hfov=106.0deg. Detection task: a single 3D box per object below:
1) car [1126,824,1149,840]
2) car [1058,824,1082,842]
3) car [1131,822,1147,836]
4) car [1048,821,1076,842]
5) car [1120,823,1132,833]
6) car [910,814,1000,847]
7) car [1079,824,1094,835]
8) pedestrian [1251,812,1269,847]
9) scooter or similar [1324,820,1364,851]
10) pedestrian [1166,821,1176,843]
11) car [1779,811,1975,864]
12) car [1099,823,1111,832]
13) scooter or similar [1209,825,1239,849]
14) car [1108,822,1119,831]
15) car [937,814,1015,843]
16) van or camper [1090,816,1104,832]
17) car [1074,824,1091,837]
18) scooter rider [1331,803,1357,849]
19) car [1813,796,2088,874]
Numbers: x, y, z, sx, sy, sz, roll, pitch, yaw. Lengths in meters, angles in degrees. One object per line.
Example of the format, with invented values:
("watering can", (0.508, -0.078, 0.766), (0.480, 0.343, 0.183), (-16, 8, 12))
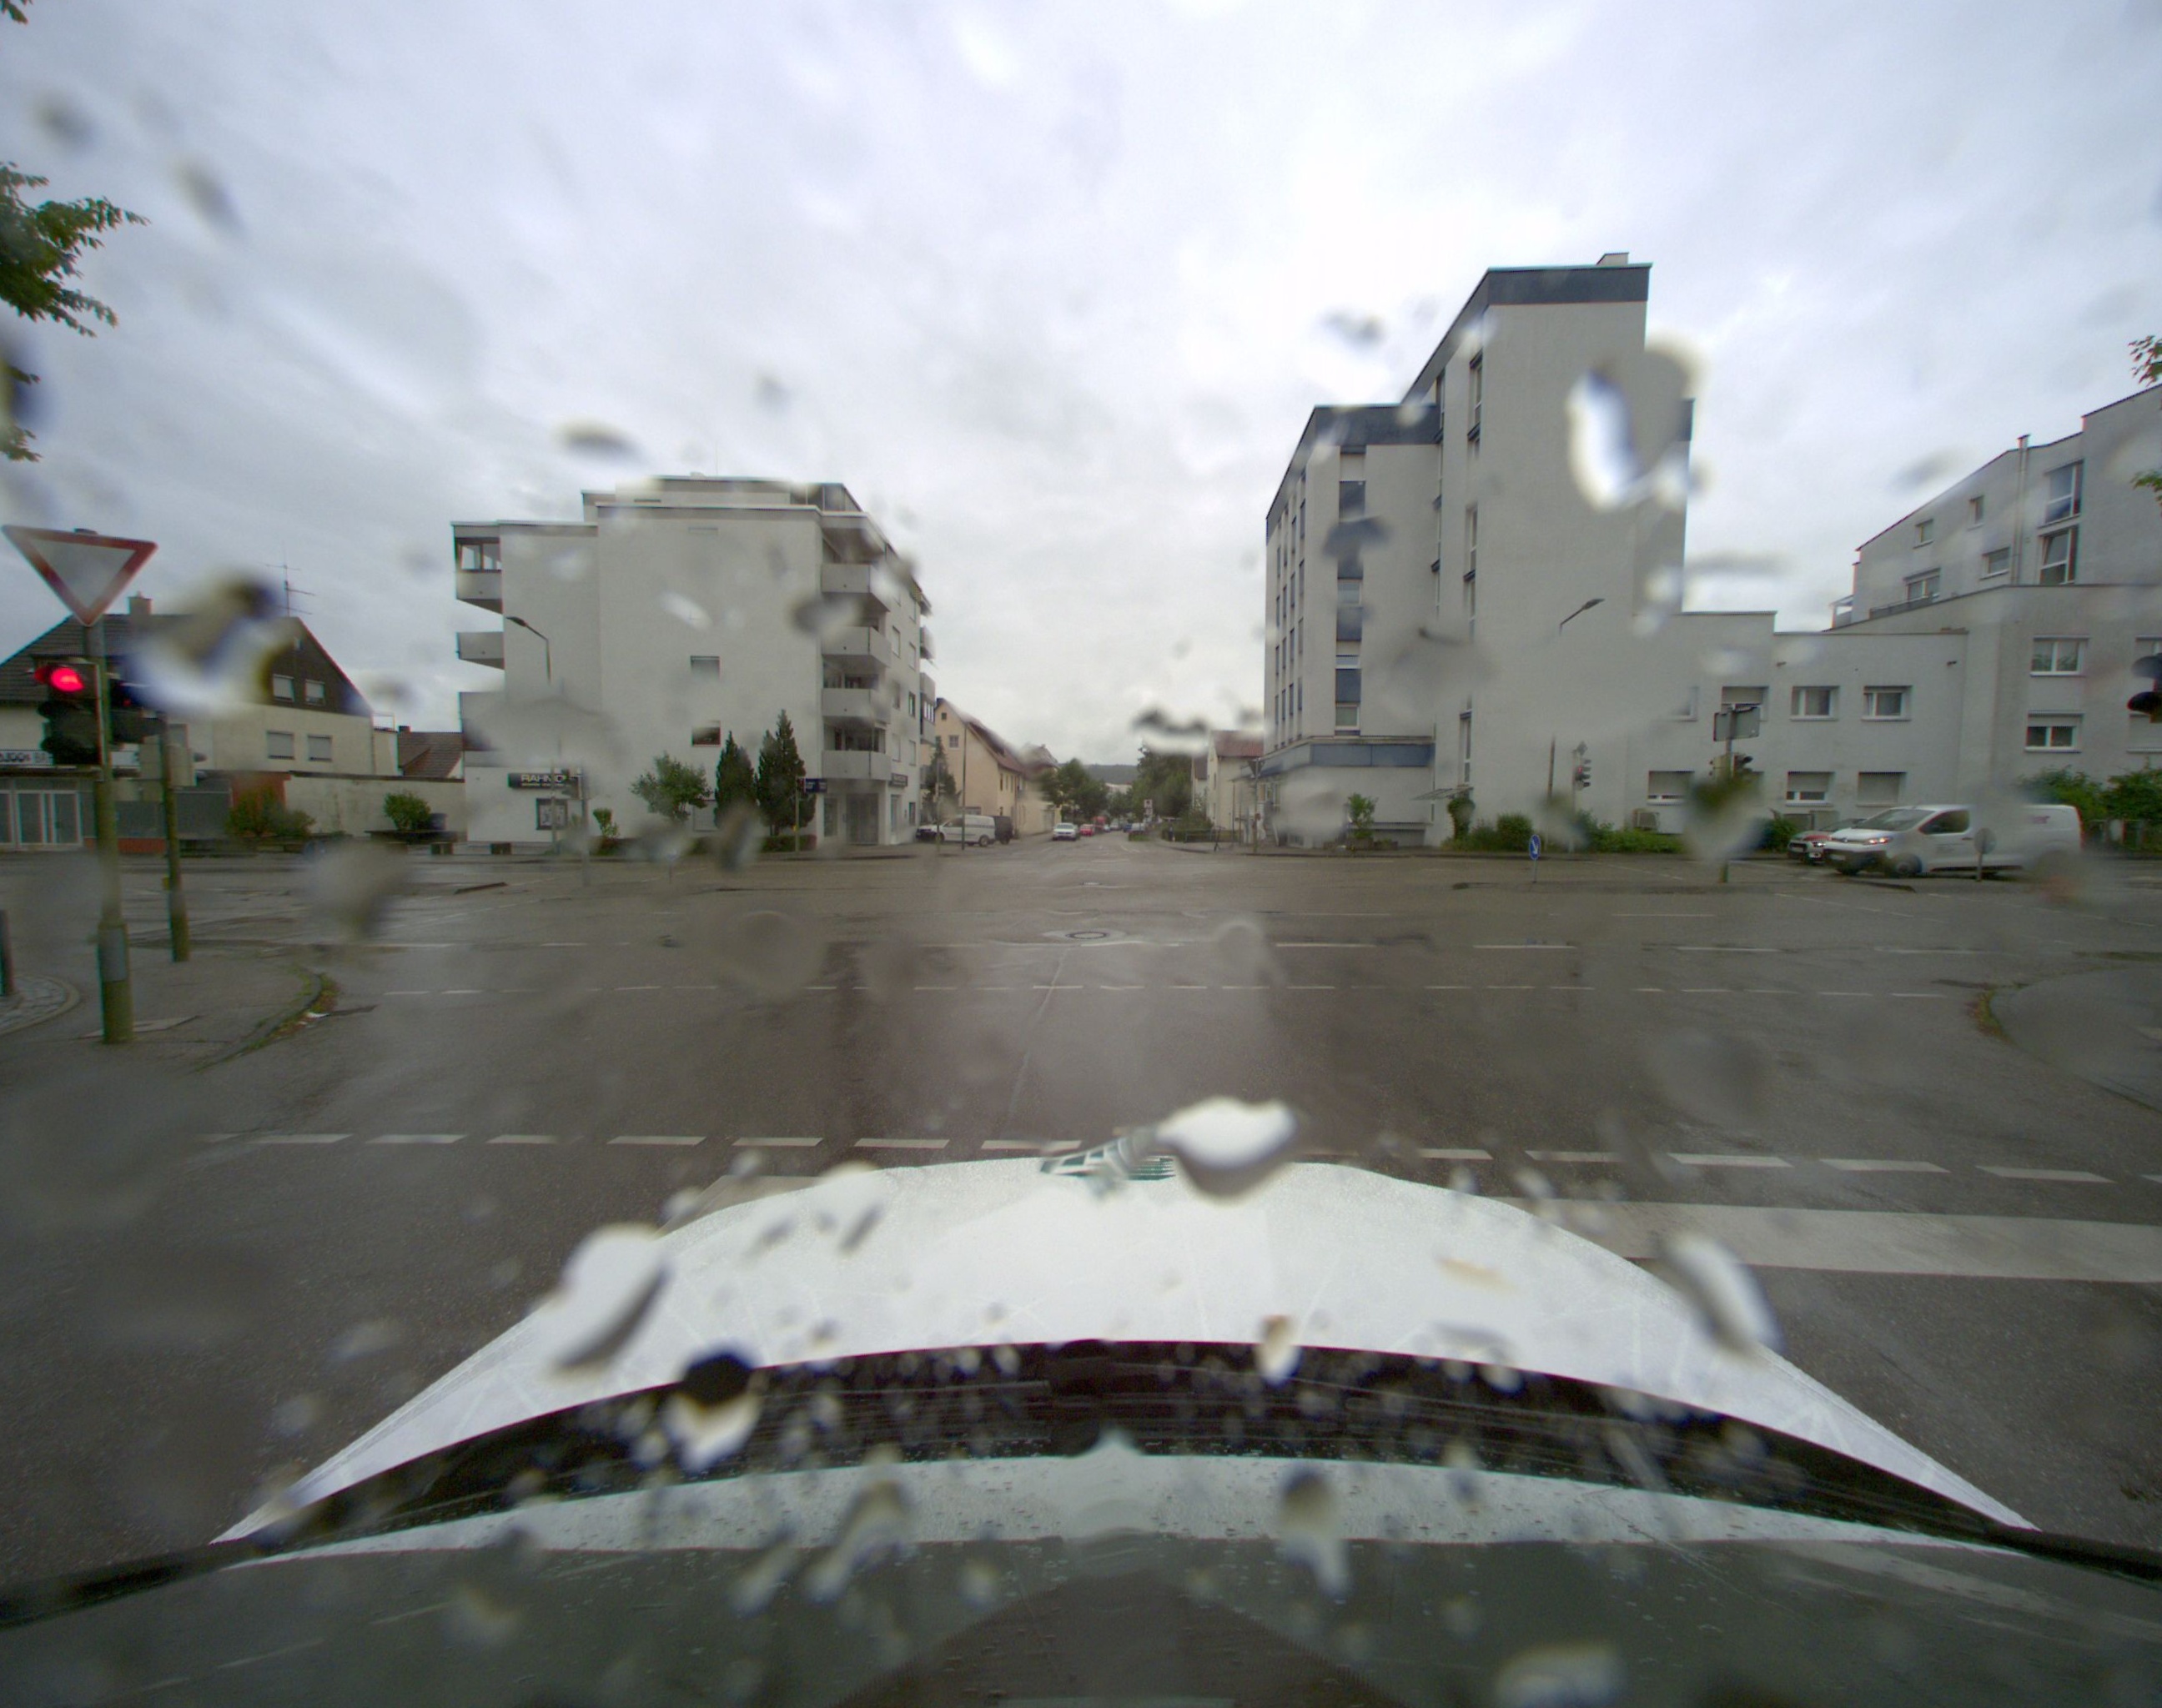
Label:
("car", (5.637, -2.211, 81.472), (2.137, 1.589, 4.131), (-1, 2, 3))
("car", (-1.043, -2.042, 79.625), (1.985, 1.625, 4.195), (-1, 2, 3))
("car", (7.362, -3.199, 103.669), (1.894, 1.745, 4.195), (-1, 2, 3))
("car", (-1.542, -1.871, 68.167), (1.985, 1.625, 4.195), (-1, 2, 3))
("car", (7.682, -4.458, 139.107), (1.984, 1.683, 4.006), (-1, 2, 4))
("car", (-7.399, -1.413, 47.937), (4.866, 1.835, 1.978), (-2, 2, -36))
("car", (0.742, -3.397, 113.005), (1.894, 1.558, 4.195), (-1, 2, 3))
("pedestrian", (8.636, -1.182, 39.349), (0.646, 1.647, 0.525), (3, 1, -4))
("scooter or similar", (10.430, -0.731, 32.342), (0.763, 1.171, 1.299), (-2, 2, -38))
("pedestrian", (7.730, -1.894, 70.068), (0.744, 1.848, 0.525), (3, 1, -2))
("car", (23.836, -0.504, 24.515), (3.966, 1.467, 1.835), (-1, 2, 6))
("car", (4.058, -4.520, 138.762), (1.894, 1.558, 4.195), (-1, 2, 3))
("scooter or similar", (6.766, -0.802, 38.585), (1.265, 1.081, 0.876), (-1, 1, -3))
("car", (6.158, -5.171, 154.714), (1.894, 1.558, 4.195), (-1, 2, 3))
("car", (-7.077, -1.728, 54.920), (4.866, 1.835, 1.978), (-2, 2, -36))
("van or camper", (2.495, -4.637, 126.914), (1.894, 2.513, 4.242), (-1, 1, 3))
("car", (0.193, -3.024, 104.525), (1.894, 1.558, 4.195), (-1, 2, 3))
("scooter rider", (10.444, -1.093, 32.283), (0.758, 1.795, 0.665), (-2, 2, -39))
("car", (22.310, -0.470, 21.098), (4.787, 1.916, 1.831), (0, 0, 8))
